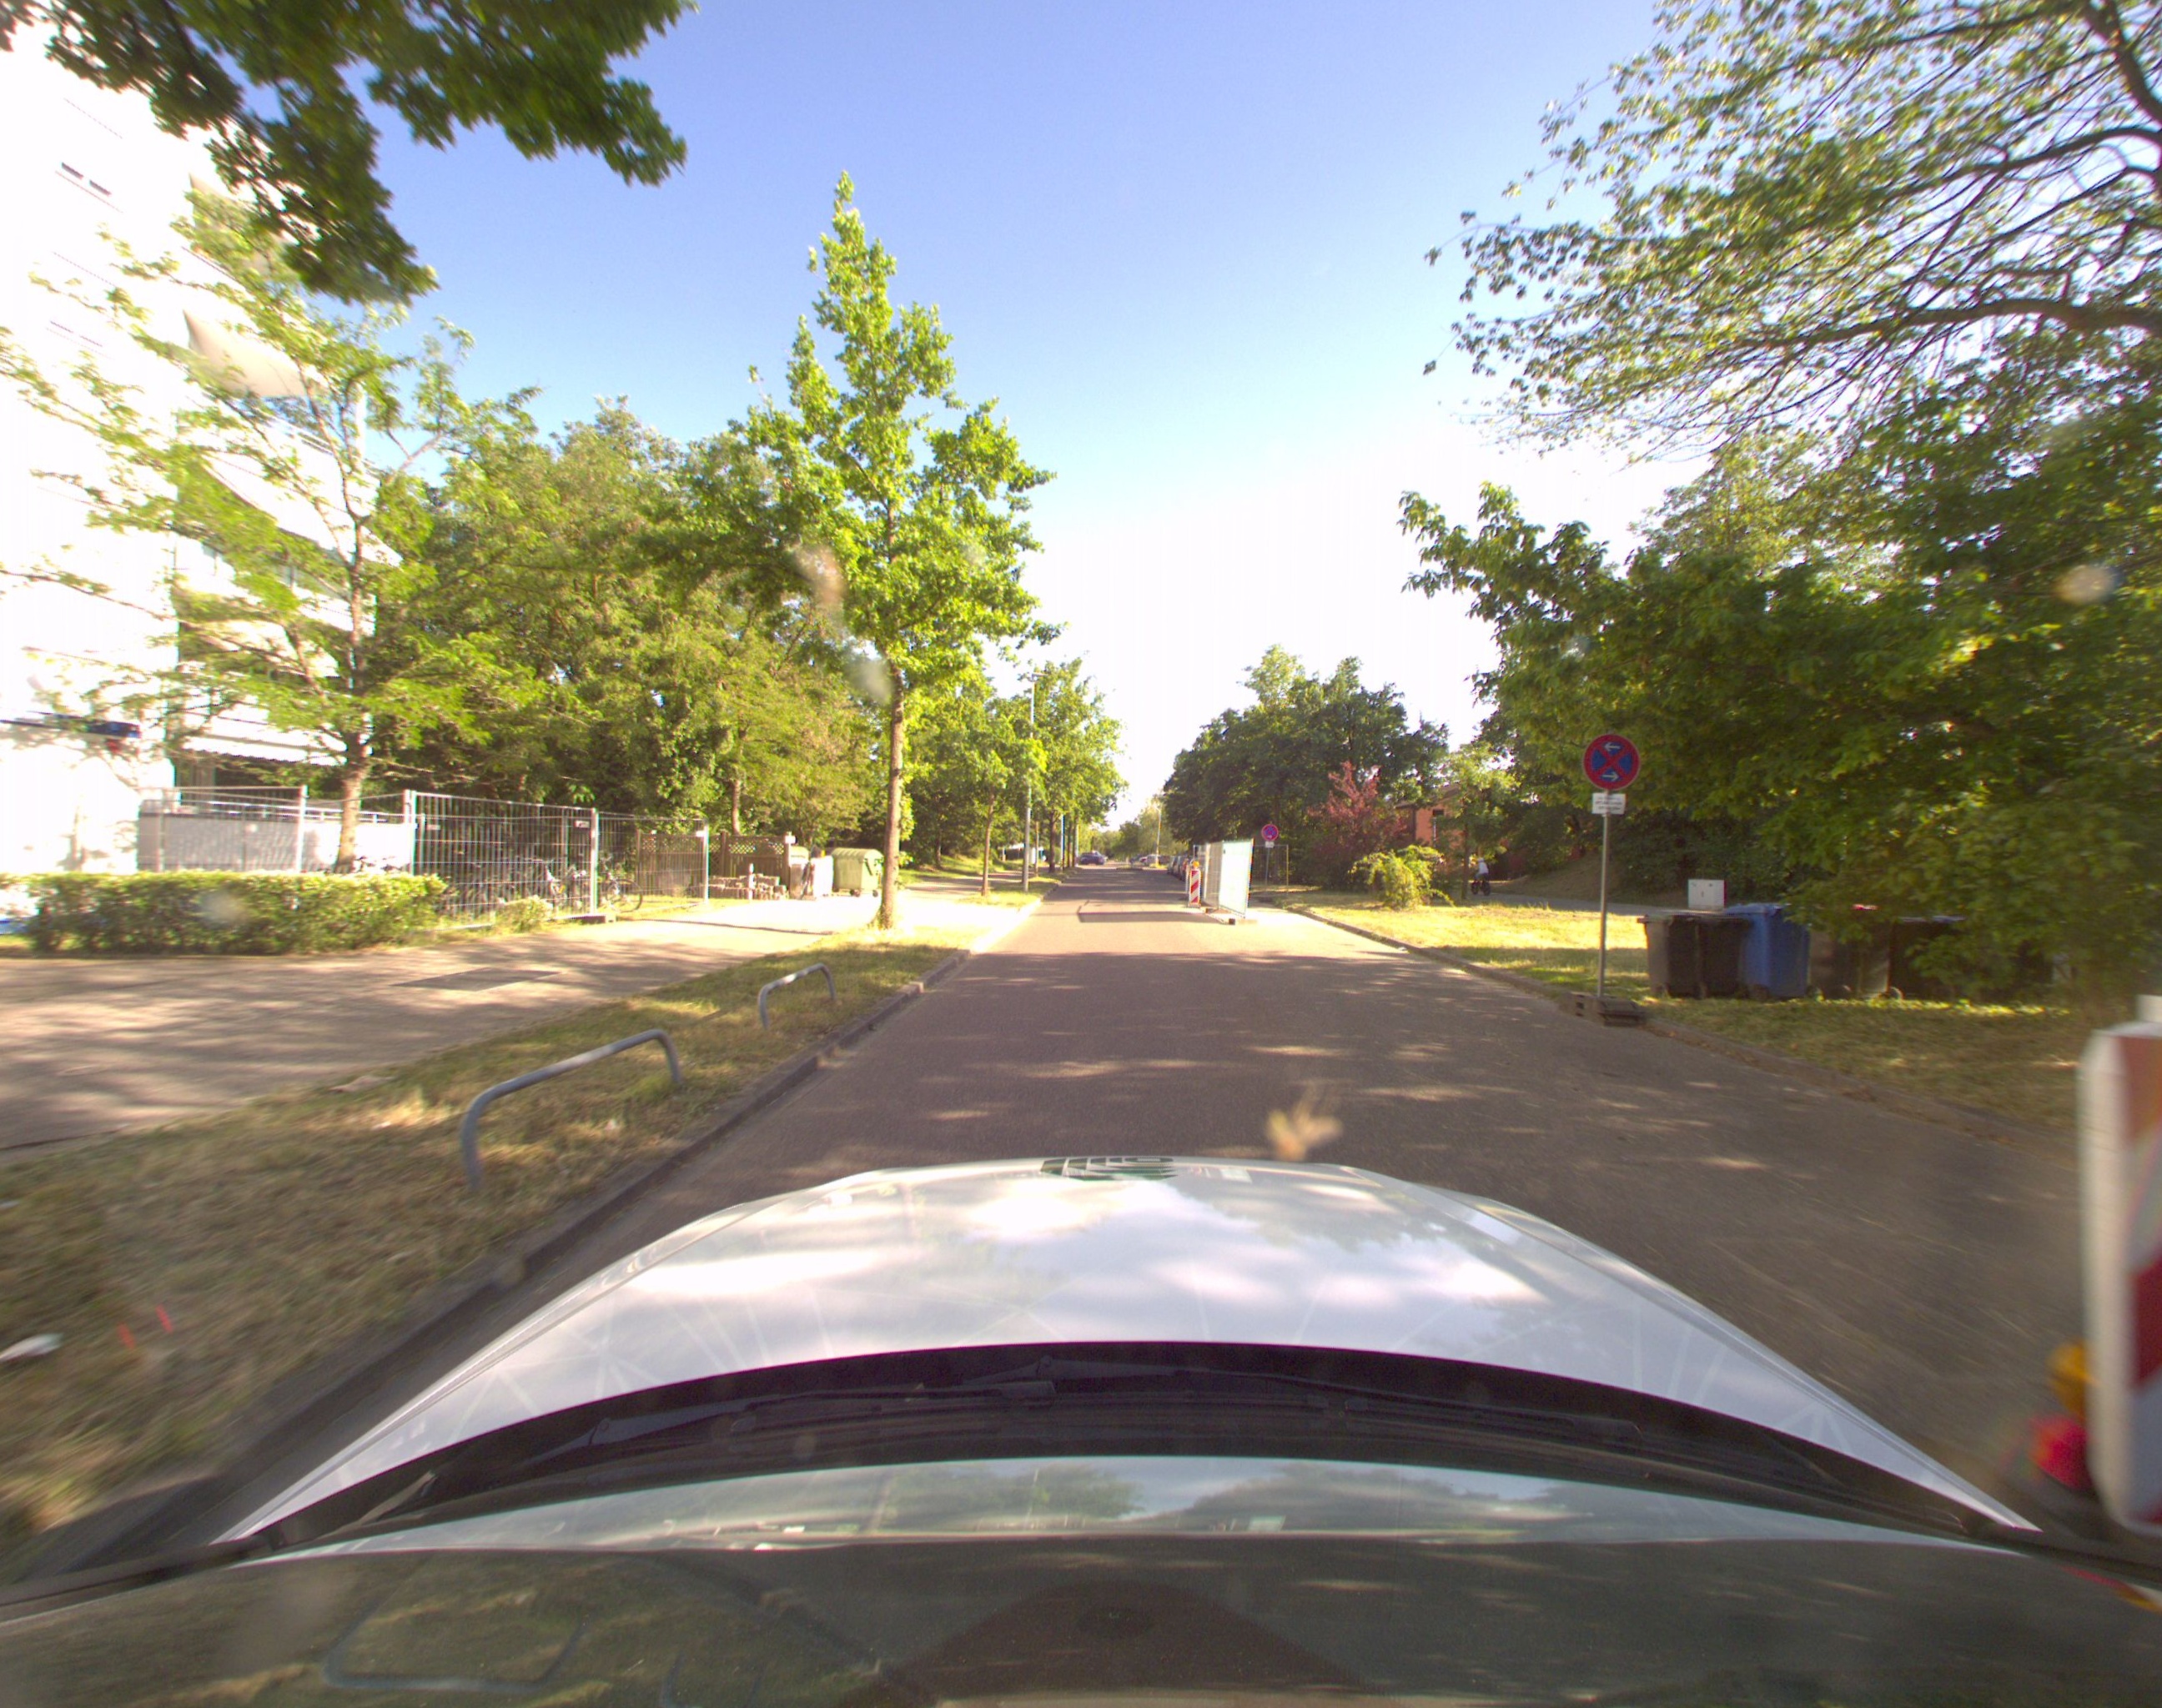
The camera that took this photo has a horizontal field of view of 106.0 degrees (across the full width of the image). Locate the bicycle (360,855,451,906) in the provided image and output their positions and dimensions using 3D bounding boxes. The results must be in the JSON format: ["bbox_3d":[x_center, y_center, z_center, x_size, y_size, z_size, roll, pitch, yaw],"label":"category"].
[{"bbox_3d":[-14.202,0.542,17.128,1.685,1.027,0.401,1,-1,7],"label":"bicycle"}]

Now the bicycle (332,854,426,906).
[{"bbox_3d":[-14.285,0.524,16.576,1.685,1.027,0.401,1,-1,7],"label":"bicycle"}]

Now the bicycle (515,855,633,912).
[{"bbox_3d":[-9.550,0.559,15.384,1.838,1.027,0.399,1,-1,-11],"label":"bicycle"}]

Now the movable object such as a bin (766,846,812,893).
[{"bbox_3d":[-9.271,0.474,25.858,1.148,1.435,1.261,1,0,-31],"label":"movable object such as a bin"}]

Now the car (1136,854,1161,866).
[{"bbox_3d":[10.562,0.943,127.512,3.816,1.576,1.692,3,0,9],"label":"car"}]

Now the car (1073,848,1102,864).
[{"bbox_3d":[1.250,0.392,154.817,5.187,2.621,2.291,3,0,-3],"label":"car"}]

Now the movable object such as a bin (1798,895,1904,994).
[{"bbox_3d":[8.296,0.962,8.798,0.560,0.999,0.609,-1,-1,3],"label":"movable object such as a bin"}]

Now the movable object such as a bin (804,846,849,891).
[{"bbox_3d":[-8.330,0.469,26.632,1.148,1.435,1.261,1,0,-31],"label":"movable object such as a bin"}]

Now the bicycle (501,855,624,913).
[{"bbox_3d":[-9.496,0.558,14.959,1.859,1.027,0.399,1,-1,-11],"label":"bicycle"}]

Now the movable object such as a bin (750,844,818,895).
[{"bbox_3d":[-8.665,0.444,23.788,1.257,1.435,1.334,0,0,30],"label":"movable object such as a bin"}]

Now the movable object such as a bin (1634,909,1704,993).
[{"bbox_3d":[6.460,1.053,8.964,0.411,0.870,0.484,-1,-1,3],"label":"movable object such as a bin"}]

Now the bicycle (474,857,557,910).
[{"bbox_3d":[-11.691,0.600,16.894,0.397,1.027,1.702,1,-1,5],"label":"bicycle"}]

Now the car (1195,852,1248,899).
[{"bbox_3d":[5.609,0.818,32.865,1.801,1.651,4.429,3,0,6],"label":"car"}]

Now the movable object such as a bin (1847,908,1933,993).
[{"bbox_3d":[8.886,1.046,8.962,0.416,0.870,0.525,-1,-1,3],"label":"movable object such as a bin"}]

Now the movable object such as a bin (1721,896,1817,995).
[{"bbox_3d":[7.451,0.974,8.841,0.516,0.999,0.609,-1,-1,3],"label":"movable object such as a bin"}]

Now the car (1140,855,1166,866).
[{"bbox_3d":[11.087,1.013,124.666,3.816,1.576,1.692,3,0,9],"label":"car"}]

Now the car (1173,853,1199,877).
[{"bbox_3d":[8.236,0.869,64.067,1.616,1.773,3.671,3,0,3],"label":"car"}]

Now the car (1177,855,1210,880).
[{"bbox_3d":[7.722,0.910,56.125,1.769,1.621,4.065,3,0,1],"label":"car"}]

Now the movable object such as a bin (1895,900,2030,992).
[{"bbox_3d":[9.554,0.982,8.854,0.691,0.928,0.695,-1,-1,3],"label":"movable object such as a bin"}]

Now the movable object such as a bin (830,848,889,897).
[{"bbox_3d":[-6.778,0.543,24.934,1.259,1.435,1.187,1,0,18],"label":"movable object such as a bin"}]

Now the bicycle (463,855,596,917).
[{"bbox_3d":[-9.455,0.547,14.012,1.855,1.027,0.399,1,-1,-11],"label":"bicycle"}]

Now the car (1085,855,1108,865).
[{"bbox_3d":[2.779,1.013,145.804,4.088,1.576,1.961,3,0,4],"label":"car"}]

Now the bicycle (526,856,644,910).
[{"bbox_3d":[-9.627,0.564,15.851,1.915,1.027,0.399,1,-1,-11],"label":"bicycle"}]

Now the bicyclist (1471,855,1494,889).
[{"bbox_3d":[17.900,0.782,36.331,0.629,1.499,0.840,1,0,1],"label":"bicyclist"}]

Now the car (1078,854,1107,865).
[{"bbox_3d":[1.864,0.853,129.512,4.293,1.576,2.051,3,0,9],"label":"car"}]

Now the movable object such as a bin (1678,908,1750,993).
[{"bbox_3d":[6.939,1.046,8.940,0.411,0.870,0.484,-1,-1,3],"label":"movable object such as a bin"}]

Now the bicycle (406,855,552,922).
[{"bbox_3d":[-9.632,0.557,13.075,1.869,1.027,0.399,1,-1,-11],"label":"bicycle"}]

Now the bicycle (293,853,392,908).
[{"bbox_3d":[-14.423,0.519,15.904,1.685,1.027,0.401,1,-1,7],"label":"bicycle"}]

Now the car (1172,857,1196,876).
[{"bbox_3d":[8.701,1.036,69.133,1.684,1.512,4.209,3,0,3],"label":"car"}]

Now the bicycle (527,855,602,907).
[{"bbox_3d":[-10.670,0.548,16.896,0.398,1.027,1.701,1,-1,2],"label":"bicycle"}]

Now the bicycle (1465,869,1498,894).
[{"bbox_3d":[17.885,1.201,36.361,0.629,1.040,1.786,1,0,2],"label":"bicycle"}]

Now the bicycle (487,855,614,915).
[{"bbox_3d":[-9.407,0.553,14.484,1.838,1.027,0.399,1,-1,-11],"label":"bicycle"}]

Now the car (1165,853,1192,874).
[{"bbox_3d":[8.961,0.822,75.280,1.785,1.785,4.555,3,0,-1],"label":"car"}]

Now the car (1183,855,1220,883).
[{"bbox_3d":[7.470,0.892,50.806,1.769,1.621,4.065,3,0,1],"label":"car"}]
